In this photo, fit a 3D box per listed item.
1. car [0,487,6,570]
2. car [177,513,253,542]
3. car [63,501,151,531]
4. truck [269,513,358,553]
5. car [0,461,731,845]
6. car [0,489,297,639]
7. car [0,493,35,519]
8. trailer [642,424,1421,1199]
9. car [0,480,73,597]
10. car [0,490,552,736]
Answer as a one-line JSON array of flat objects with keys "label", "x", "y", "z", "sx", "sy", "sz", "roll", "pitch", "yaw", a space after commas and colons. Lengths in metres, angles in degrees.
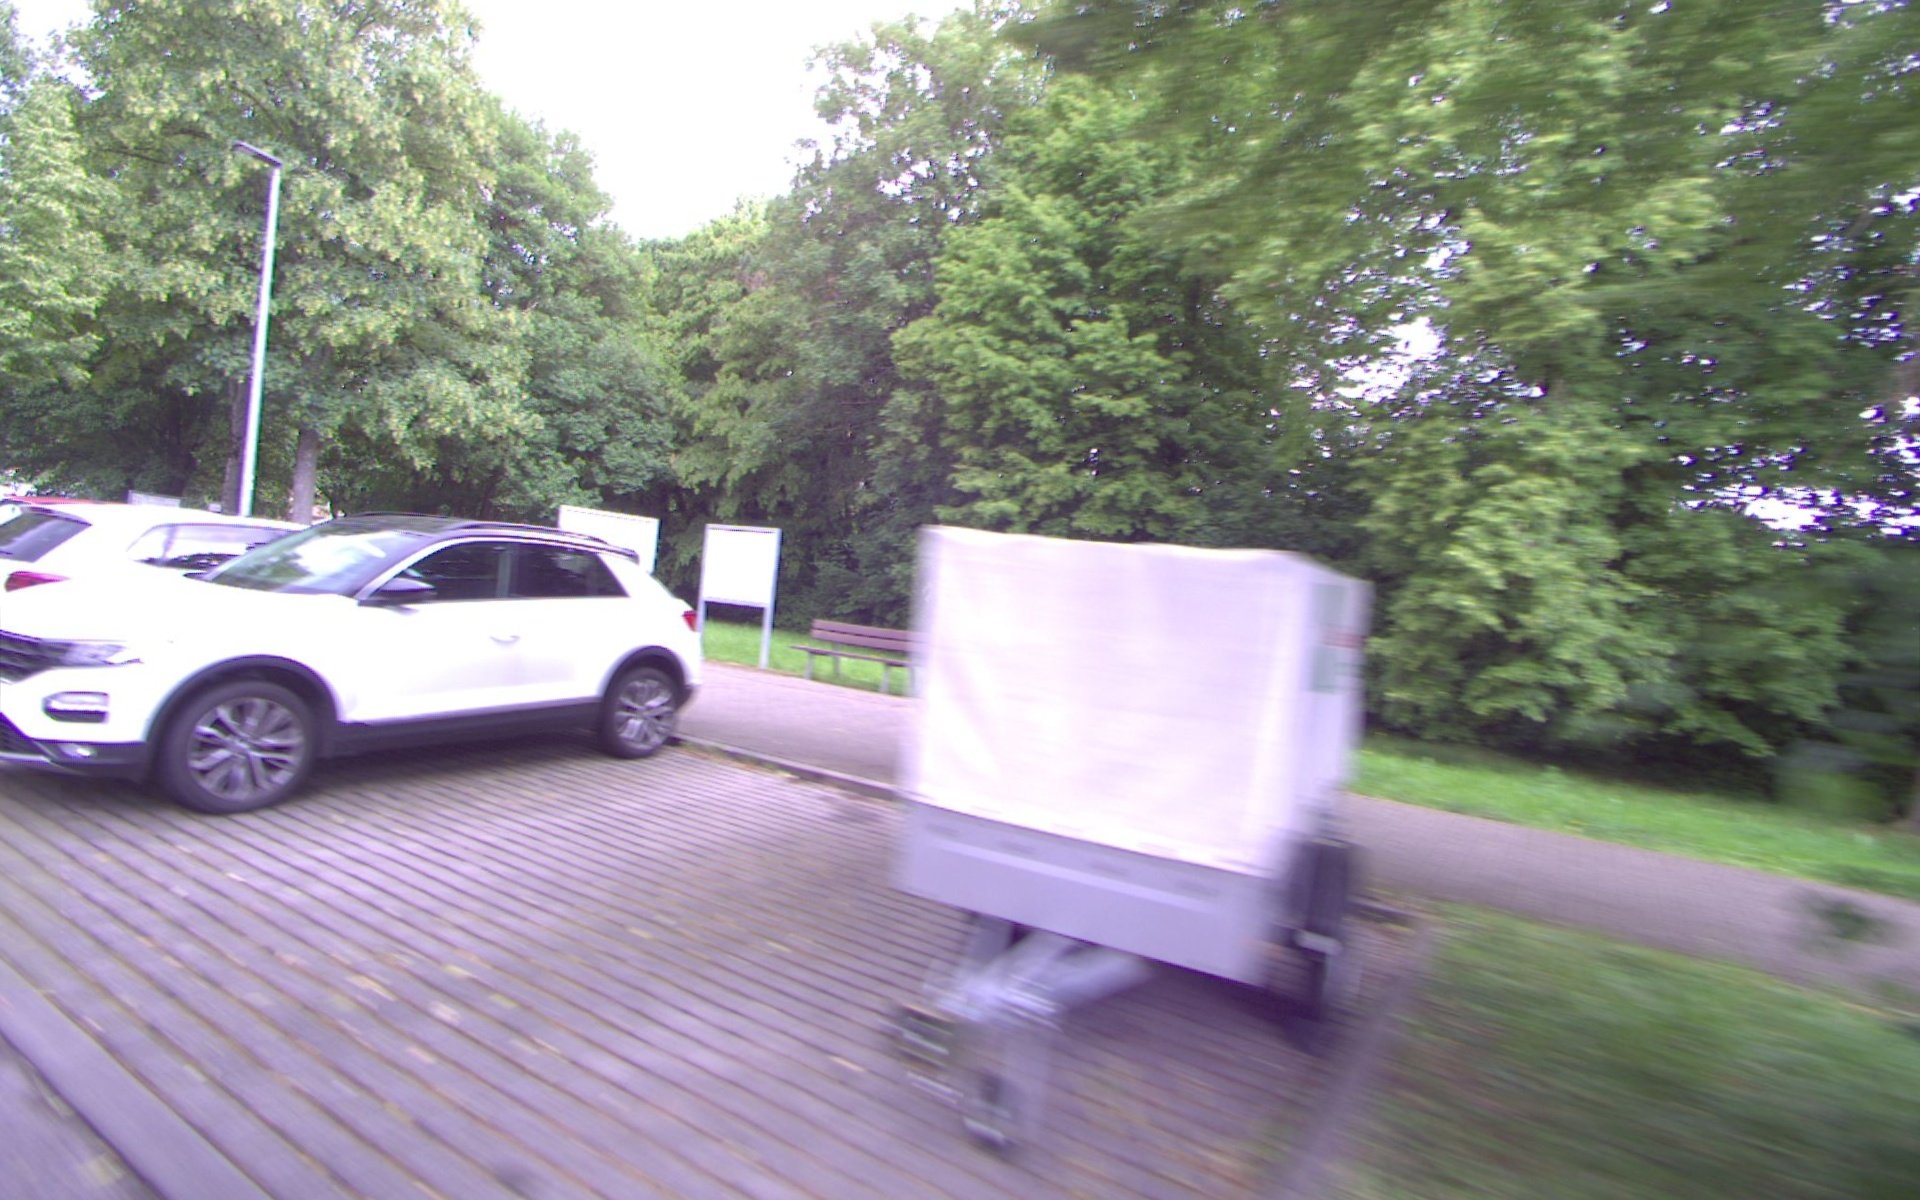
[{"label": "car", "x": -18.960, "y": -1.436, "z": 16.487, "sx": 1.816, "sy": 1.473, "sz": 4.487, "roll": 6, "pitch": 1, "yaw": 32}, {"label": "car", "x": -55.934, "y": -5.449, "z": 75.574, "sx": 1.678, "sy": 1.545, "sz": 4.279, "roll": 6, "pitch": 0, "yaw": 39}, {"label": "car", "x": -59.932, "y": -5.863, "z": 70.730, "sx": 1.678, "sy": 1.445, "sz": 4.425, "roll": 6, "pitch": -1, "yaw": 39}, {"label": "truck", "x": -51.847, "y": -5.351, "z": 80.747, "sx": 2.160, "sy": 2.456, "sz": 5.502, "roll": 6, "pitch": 0, "yaw": 38}, {"label": "car", "x": -3.605, "y": 0.219, "z": 6.354, "sx": 1.829, "sy": 1.568, "sz": 4.116, "roll": 6, "pitch": 1, "yaw": 29}, {"label": "car", "x": -9.730, "y": -0.408, "z": 10.690, "sx": 1.786, "sy": 1.440, "sz": 4.056, "roll": 6, "pitch": 1, "yaw": 31}, {"label": "car", "x": -63.717, "y": -6.355, "z": 65.827, "sx": 1.678, "sy": 1.445, "sz": 4.390, "roll": 6, "pitch": -1, "yaw": 38}, {"label": "trailer", "x": 0.612, "y": 0.559, "z": 3.654, "sx": 1.537, "sy": 1.814, "sz": 3.032, "roll": 6, "pitch": 1, "yaw": 29}, {"label": "car", "x": -14.396, "y": -0.979, "z": 13.147, "sx": 1.851, "sy": 1.535, "sz": 3.839, "roll": 6, "pitch": 1, "yaw": 35}, {"label": "car", "x": -5.532, "y": 0.063, "z": 7.972, "sx": 1.761, "sy": 1.440, "sz": 4.014, "roll": 6, "pitch": 1, "yaw": 27}]
